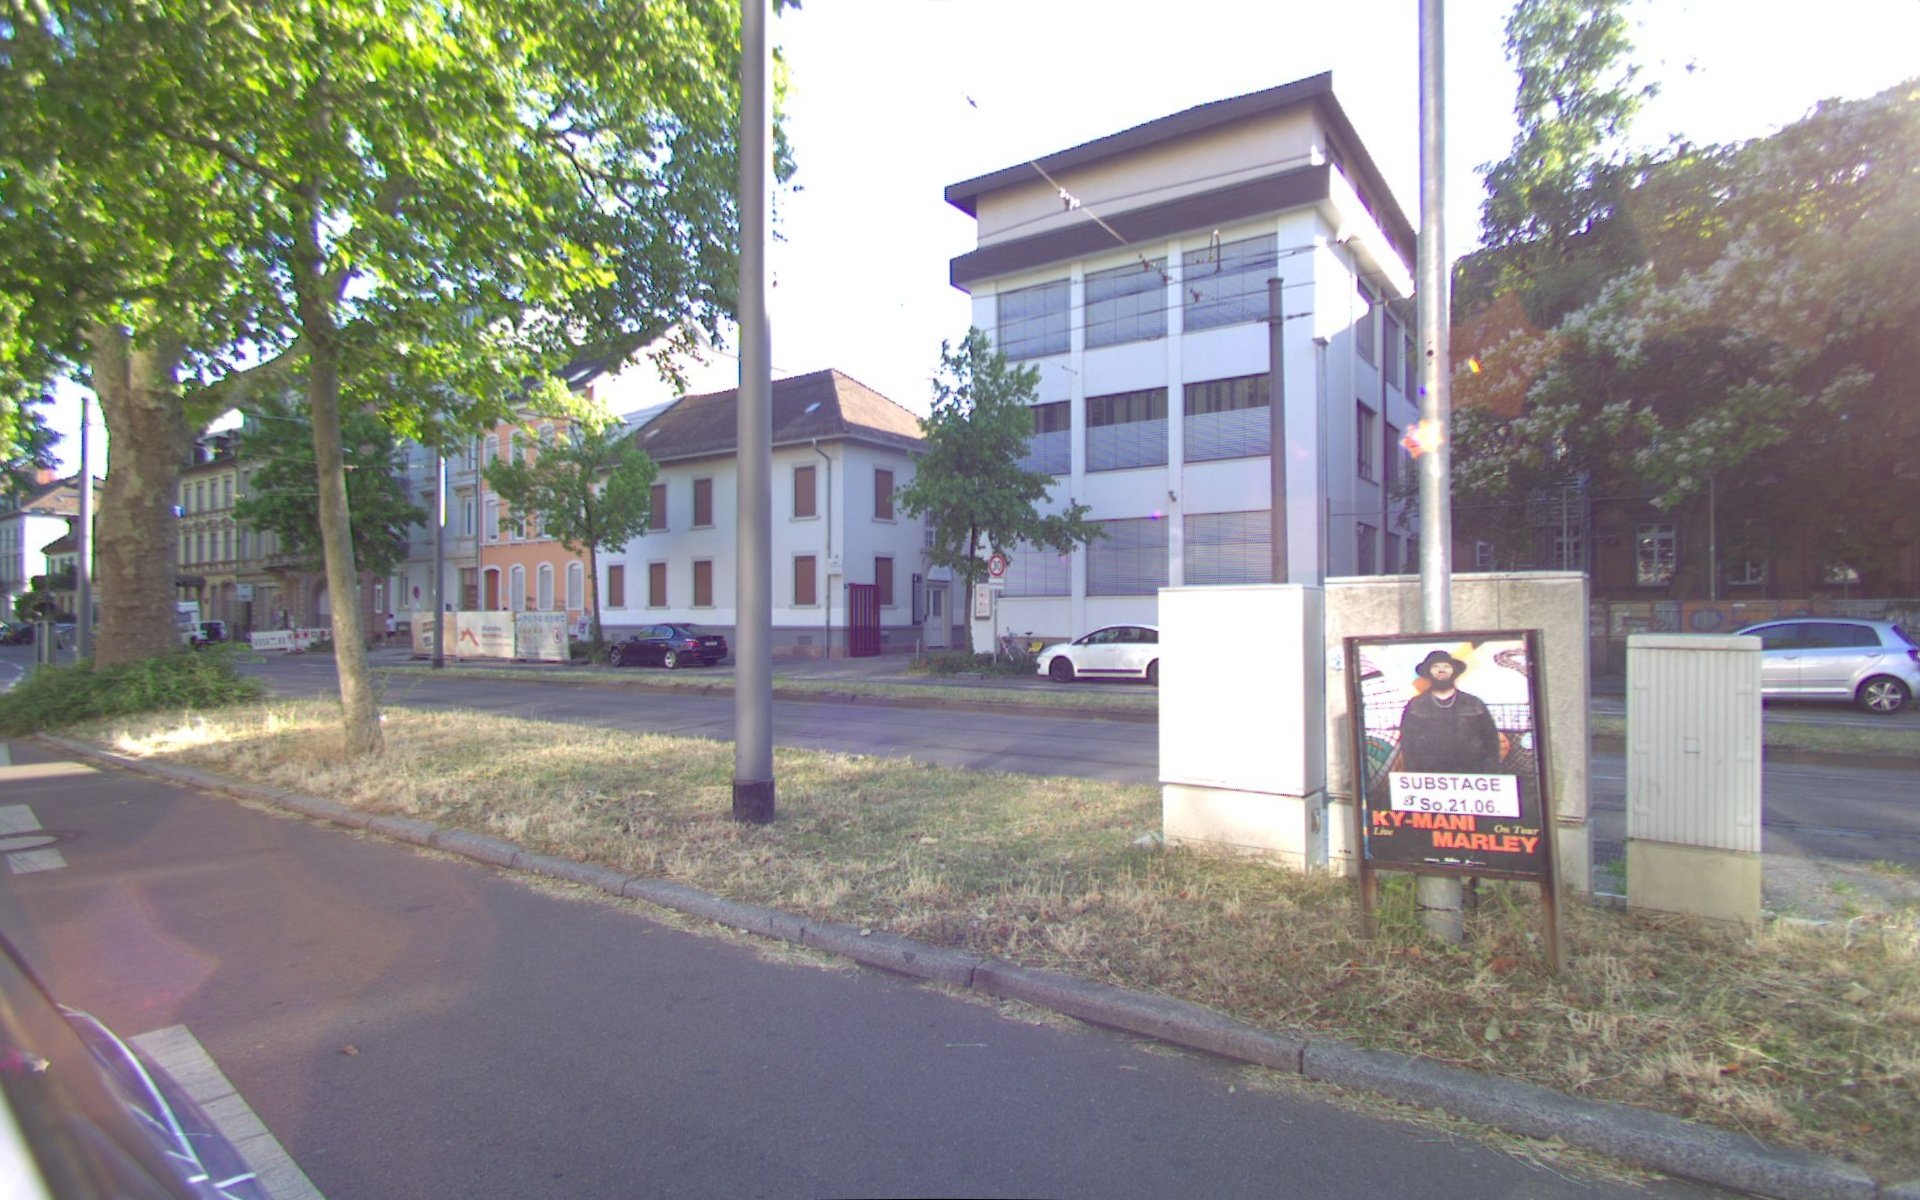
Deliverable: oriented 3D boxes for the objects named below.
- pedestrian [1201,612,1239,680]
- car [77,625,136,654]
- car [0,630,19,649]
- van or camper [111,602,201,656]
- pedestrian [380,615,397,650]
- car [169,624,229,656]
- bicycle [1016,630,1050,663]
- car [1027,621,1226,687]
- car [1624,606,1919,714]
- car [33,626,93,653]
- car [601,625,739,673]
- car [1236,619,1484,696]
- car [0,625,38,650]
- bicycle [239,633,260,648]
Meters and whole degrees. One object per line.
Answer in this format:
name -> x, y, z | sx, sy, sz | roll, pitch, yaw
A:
pedestrian -> 6.409, 1.122, 24.932 | 0.730, 1.633, 0.630 | -1, -1, 34
car -> -56.167, 2.601, 66.560 | 4.432, 1.718, 1.795 | -1, 2, 35
car -> -76.275, 3.127, 80.142 | 4.394, 1.465, 1.649 | -1, 1, 35
van or camper -> -48.589, 1.744, 61.094 | 7.238, 2.969, 2.398 | -1, 2, 37
pedestrian -> -29.840, 1.681, 52.859 | 0.480, 1.832, 0.592 | -1, -2, 35
car -> -43.278, 2.250, 57.534 | 3.361, 1.718, 1.618 | -1, 1, 33
bicycle -> 2.242, 1.433, 31.143 | 1.016, 1.010, 0.300 | -1, -2, 34
car -> 4.039, 1.273, 24.763 | 4.394, 1.482, 1.977 | -1, -2, 34
car -> 14.187, 0.992, 17.801 | 4.167, 1.702, 1.977 | -1, -2, 34
car -> -62.608, 2.730, 70.613 | 4.739, 1.715, 1.977 | -1, 2, 35
car -> -9.837, 1.618, 34.220 | 4.714, 1.525, 1.976 | -1, -2, 35
car -> 8.510, 1.162, 21.671 | 4.637, 1.487, 1.977 | -1, -2, 34
car -> -72.539, 2.873, 77.832 | 3.618, 1.759, 1.709 | -1, 2, 36
bicycle -> -44.253, 2.506, 63.002 | 1.789, 0.931, 0.573 | -1, -2, 38
